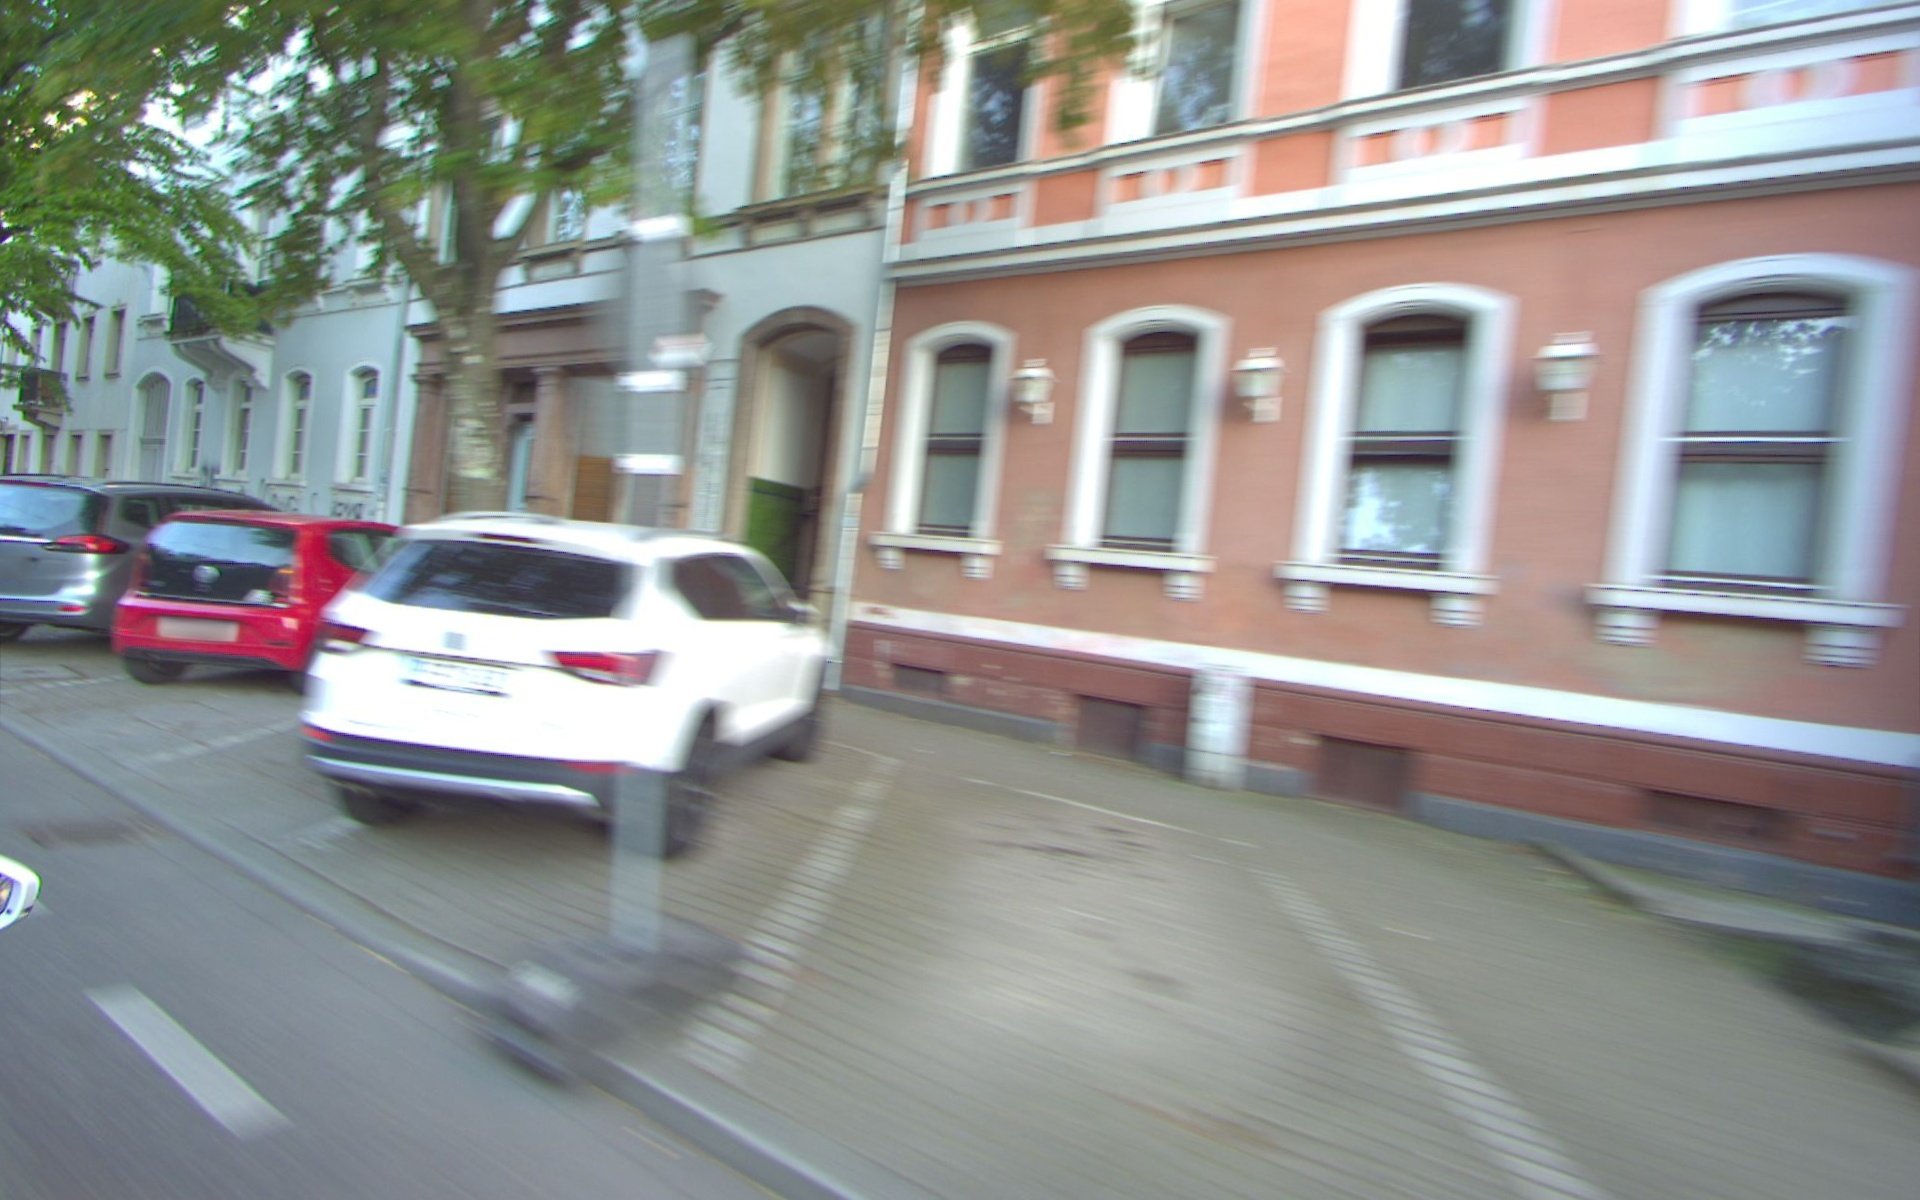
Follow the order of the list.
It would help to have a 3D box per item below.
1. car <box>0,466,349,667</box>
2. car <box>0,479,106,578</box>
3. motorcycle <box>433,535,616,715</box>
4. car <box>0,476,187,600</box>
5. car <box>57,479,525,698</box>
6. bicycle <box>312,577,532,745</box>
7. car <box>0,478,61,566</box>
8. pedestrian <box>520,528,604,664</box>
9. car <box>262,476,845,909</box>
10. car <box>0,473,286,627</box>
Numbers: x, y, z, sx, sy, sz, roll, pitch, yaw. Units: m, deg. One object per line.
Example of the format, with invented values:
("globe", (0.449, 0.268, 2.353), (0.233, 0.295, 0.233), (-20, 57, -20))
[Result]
("car", (-8.654, -0.397, 10.752), (1.866, 1.691, 3.950), (5, 2, -2))
("car", (-16.946, -1.280, 16.811), (1.806, 1.624, 3.953), (5, 1, 2))
("motorcycle", (-4.002, 0.182, 9.144), (0.869, 1.410, 2.054), (4, 2, -41))
("car", (-13.397, -0.921, 14.160), (1.805, 1.625, 3.951), (5, 2, 3))
("car", (-6.036, -0.139, 9.756), (1.796, 1.497, 3.951), (6, 2, 0))
("bicycle", (-3.987, 0.394, 7.608), (0.455, 1.089, 1.668), (7, 3, 11))
("car", (-18.912, -1.528, 18.066), (1.805, 1.625, 3.952), (5, 1, 3))
("pedestrian", (-5.012, -0.046, 12.673), (0.615, 1.629, 0.586), (7, 1, 35))
("car", (-1.975, 0.349, 6.230), (1.642, 1.648, 3.952), (7, 2, 4))
("car", (-10.886, -0.693, 12.861), (1.713, 1.626, 3.949), (5, 4, 3))
